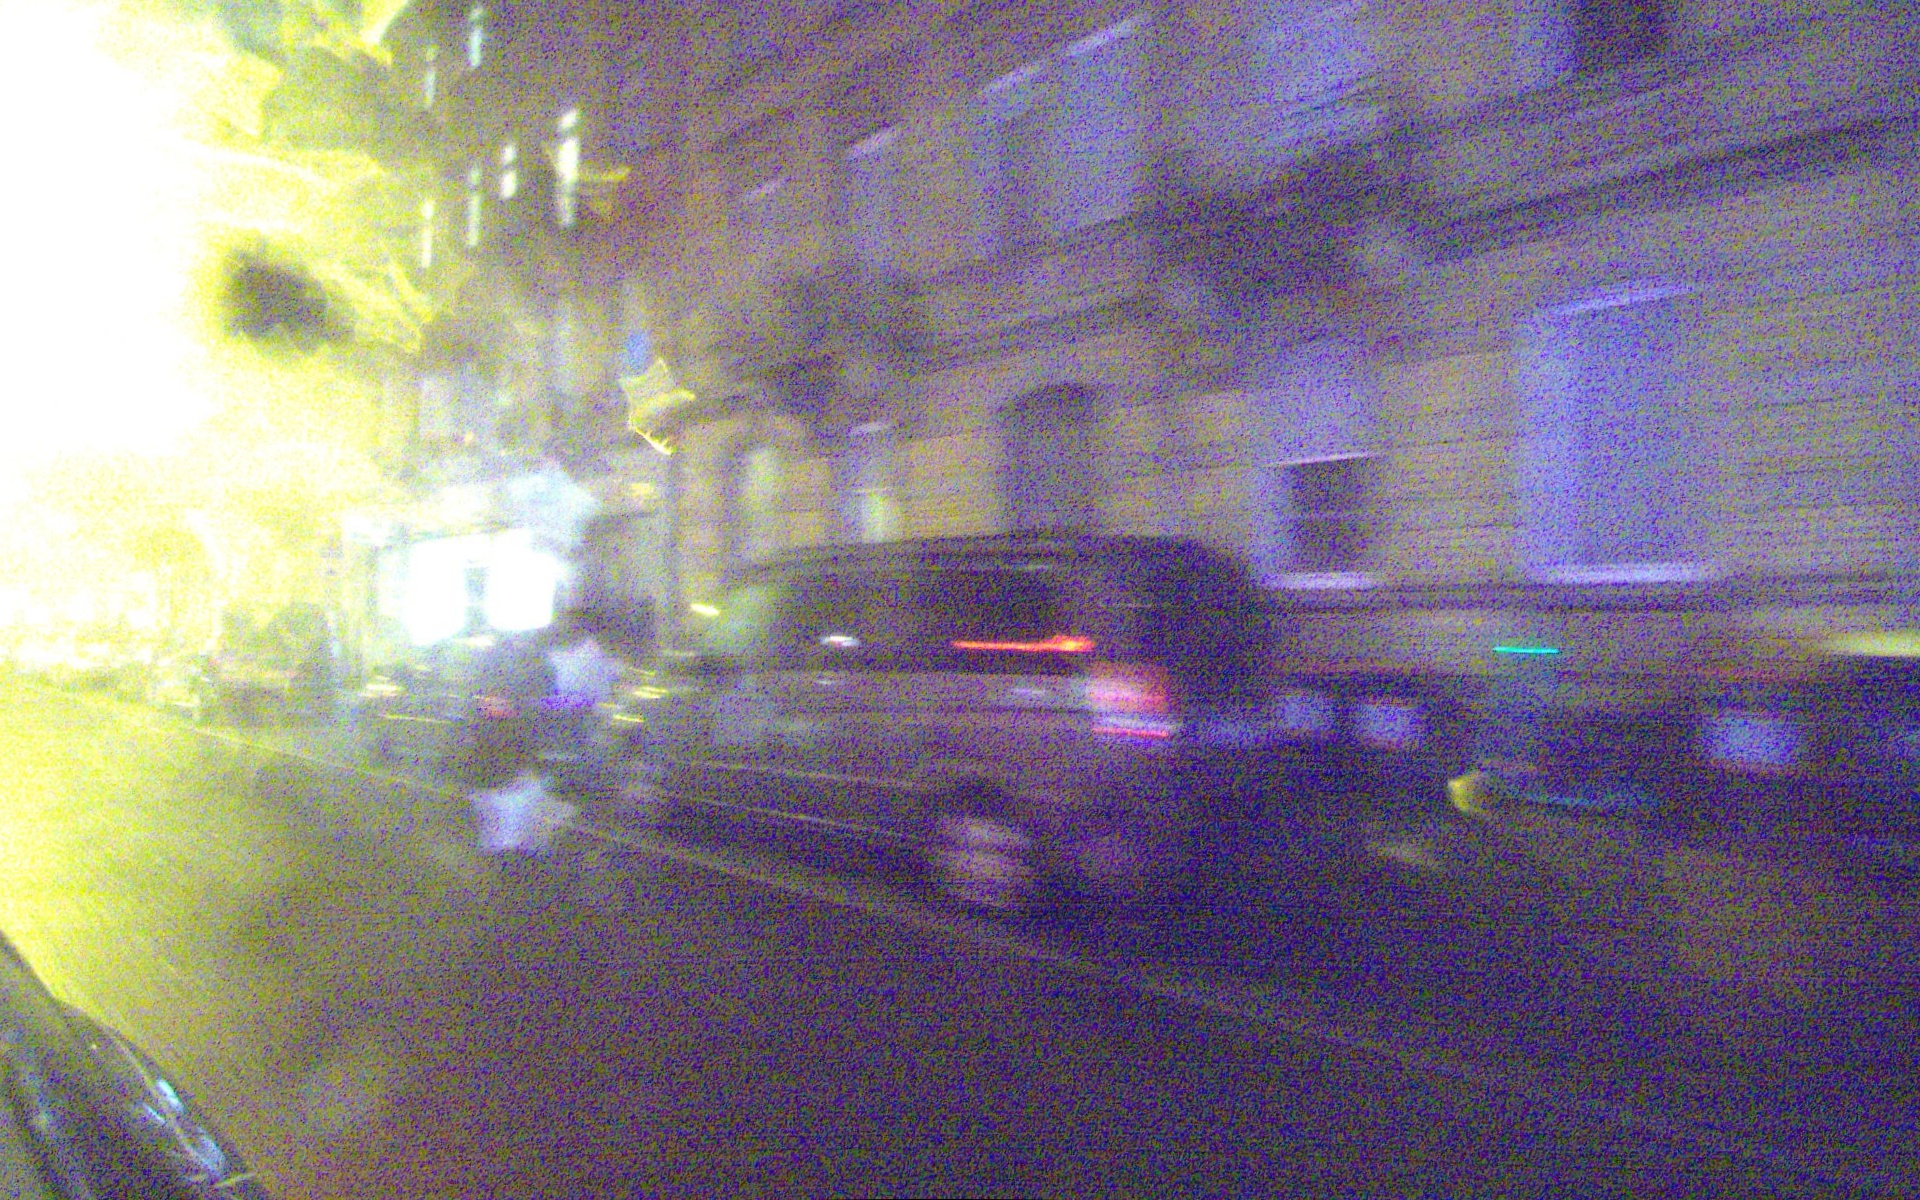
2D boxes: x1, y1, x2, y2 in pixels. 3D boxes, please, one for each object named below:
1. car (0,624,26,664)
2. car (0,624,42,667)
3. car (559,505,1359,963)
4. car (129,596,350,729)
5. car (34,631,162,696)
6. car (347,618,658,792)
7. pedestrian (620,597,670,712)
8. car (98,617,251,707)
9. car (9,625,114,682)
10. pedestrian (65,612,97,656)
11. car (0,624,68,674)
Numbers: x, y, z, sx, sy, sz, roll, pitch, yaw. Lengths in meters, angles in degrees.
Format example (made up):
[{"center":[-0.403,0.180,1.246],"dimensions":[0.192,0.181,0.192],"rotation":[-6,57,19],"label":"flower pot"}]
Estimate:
[{"center":[-37.095,1.702,38.727],"dimensions":[3.962,1.490,1.674],"rotation":[-3,-3,43],"label":"car"},{"center":[-34.017,1.629,36.129],"dimensions":[3.385,1.490,1.673],"rotation":[-3,-3,45],"label":"car"},{"center":[-0.403,0.604,6.570],"dimensions":[5.204,1.843,1.975],"rotation":[-2,-2,42],"label":"car"},{"center":[-11.742,0.922,16.361],"dimensions":[4.827,1.843,1.882],"rotation":[-2,-2,42],"label":"car"},{"center":[-20.746,1.461,24.294],"dimensions":[4.553,1.402,1.708],"rotation":[-2,-2,42],"label":"car"},{"center":[-4.820,0.942,10.438],"dimensions":[3.718,1.471,1.552],"rotation":[-2,-2,42],"label":"car"},{"center":[-5.048,0.873,16.229],"dimensions":[0.460,1.802,0.587],"rotation":[-3,-5,44],"label":"pedestrian"},{"center":[-15.418,1.147,19.815],"dimensions":[3.718,1.587,1.708],"rotation":[-2,-2,42],"label":"car"},{"center":[-25.162,1.436,28.300],"dimensions":[4.271,1.464,1.708],"rotation":[-2,-2,42],"label":"car"},{"center":[-36.958,1.429,42.547],"dimensions":[0.629,1.801,0.900],"rotation":[-1,1,42],"label":"pedestrian"},{"center":[-29.452,1.517,31.961],"dimensions":[3.382,1.464,1.512],"rotation":[-2,-2,42],"label":"car"}]
